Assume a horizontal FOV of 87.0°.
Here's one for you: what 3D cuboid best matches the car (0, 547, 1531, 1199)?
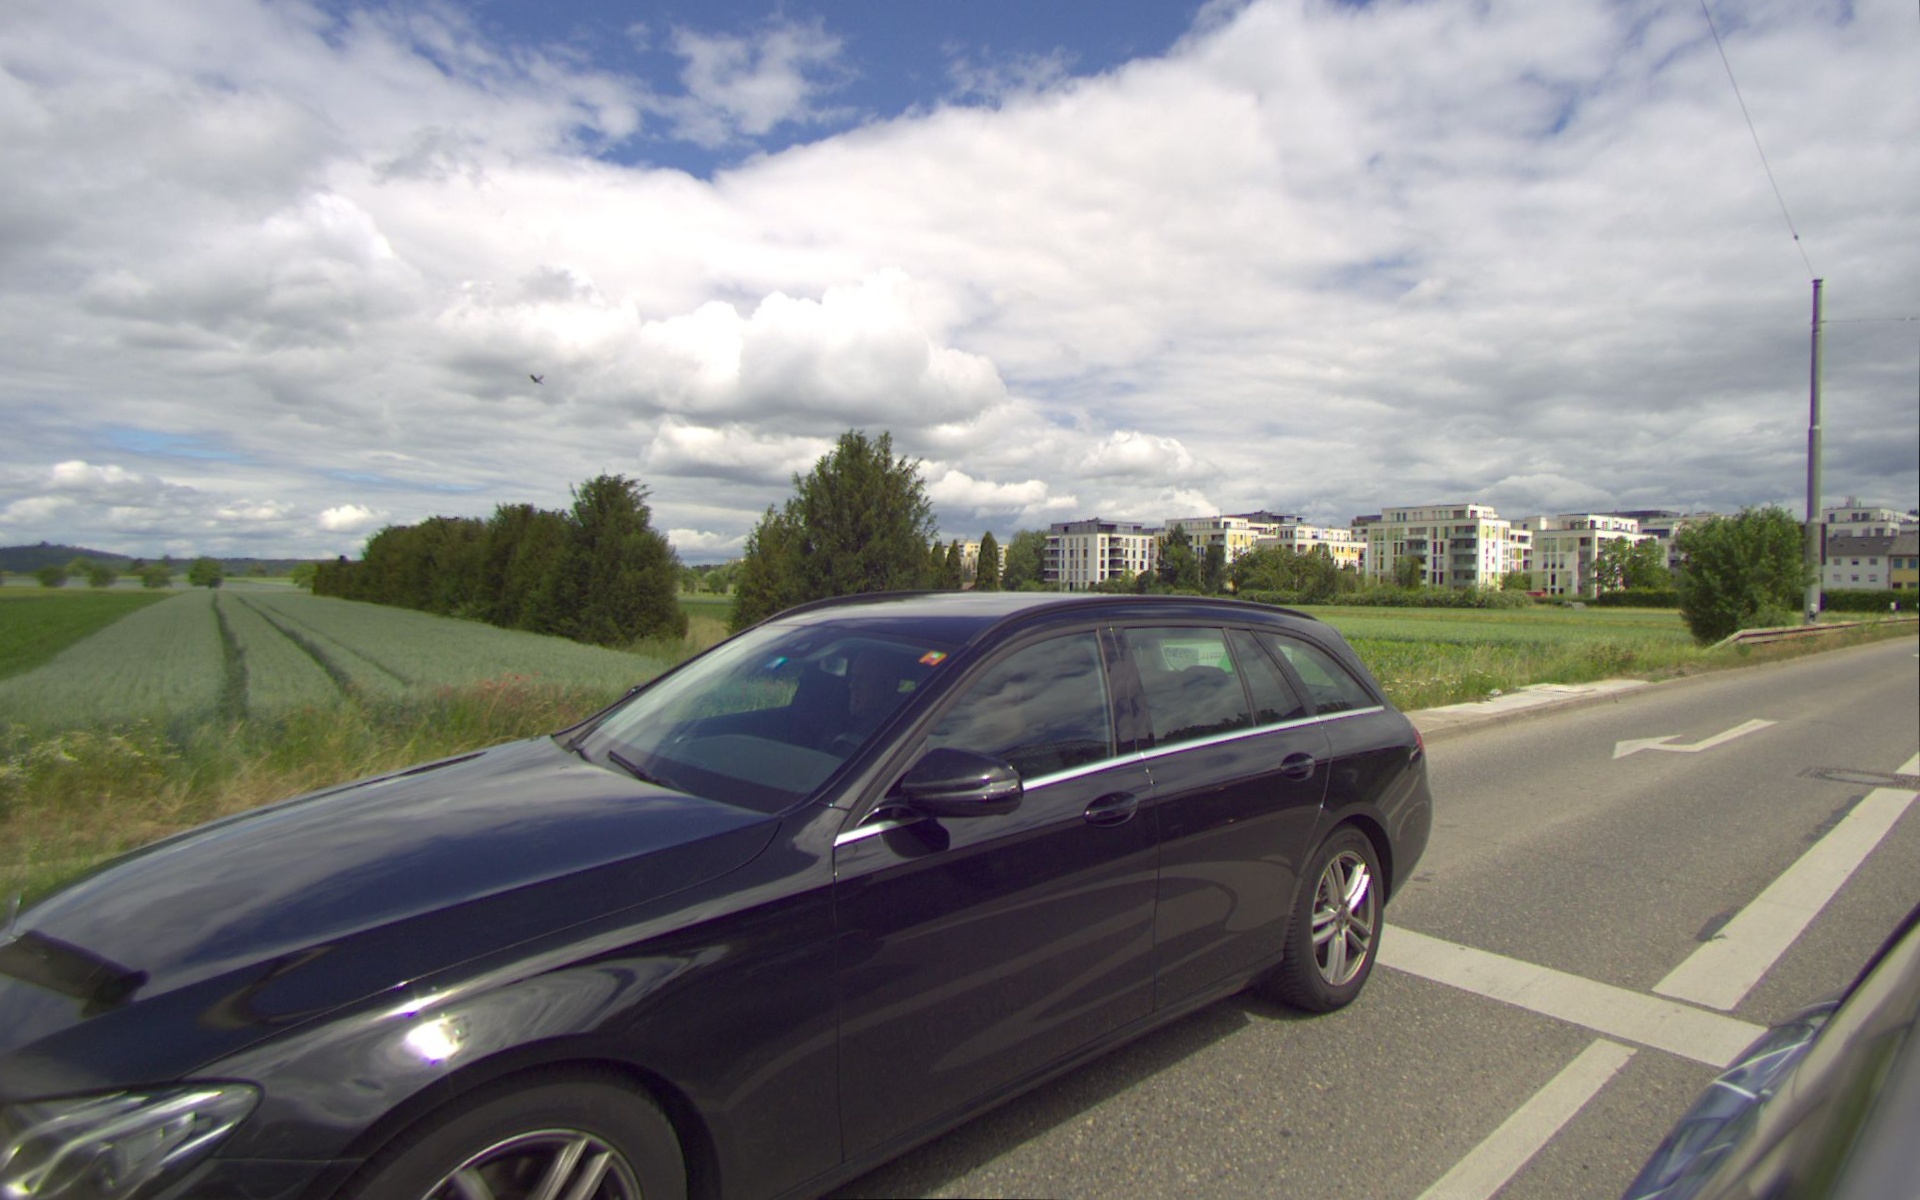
[{"bbox_3d":[0.015,0.636,3.532,5.109,1.459,1.876,0,1,-41],"label":"car"}]
